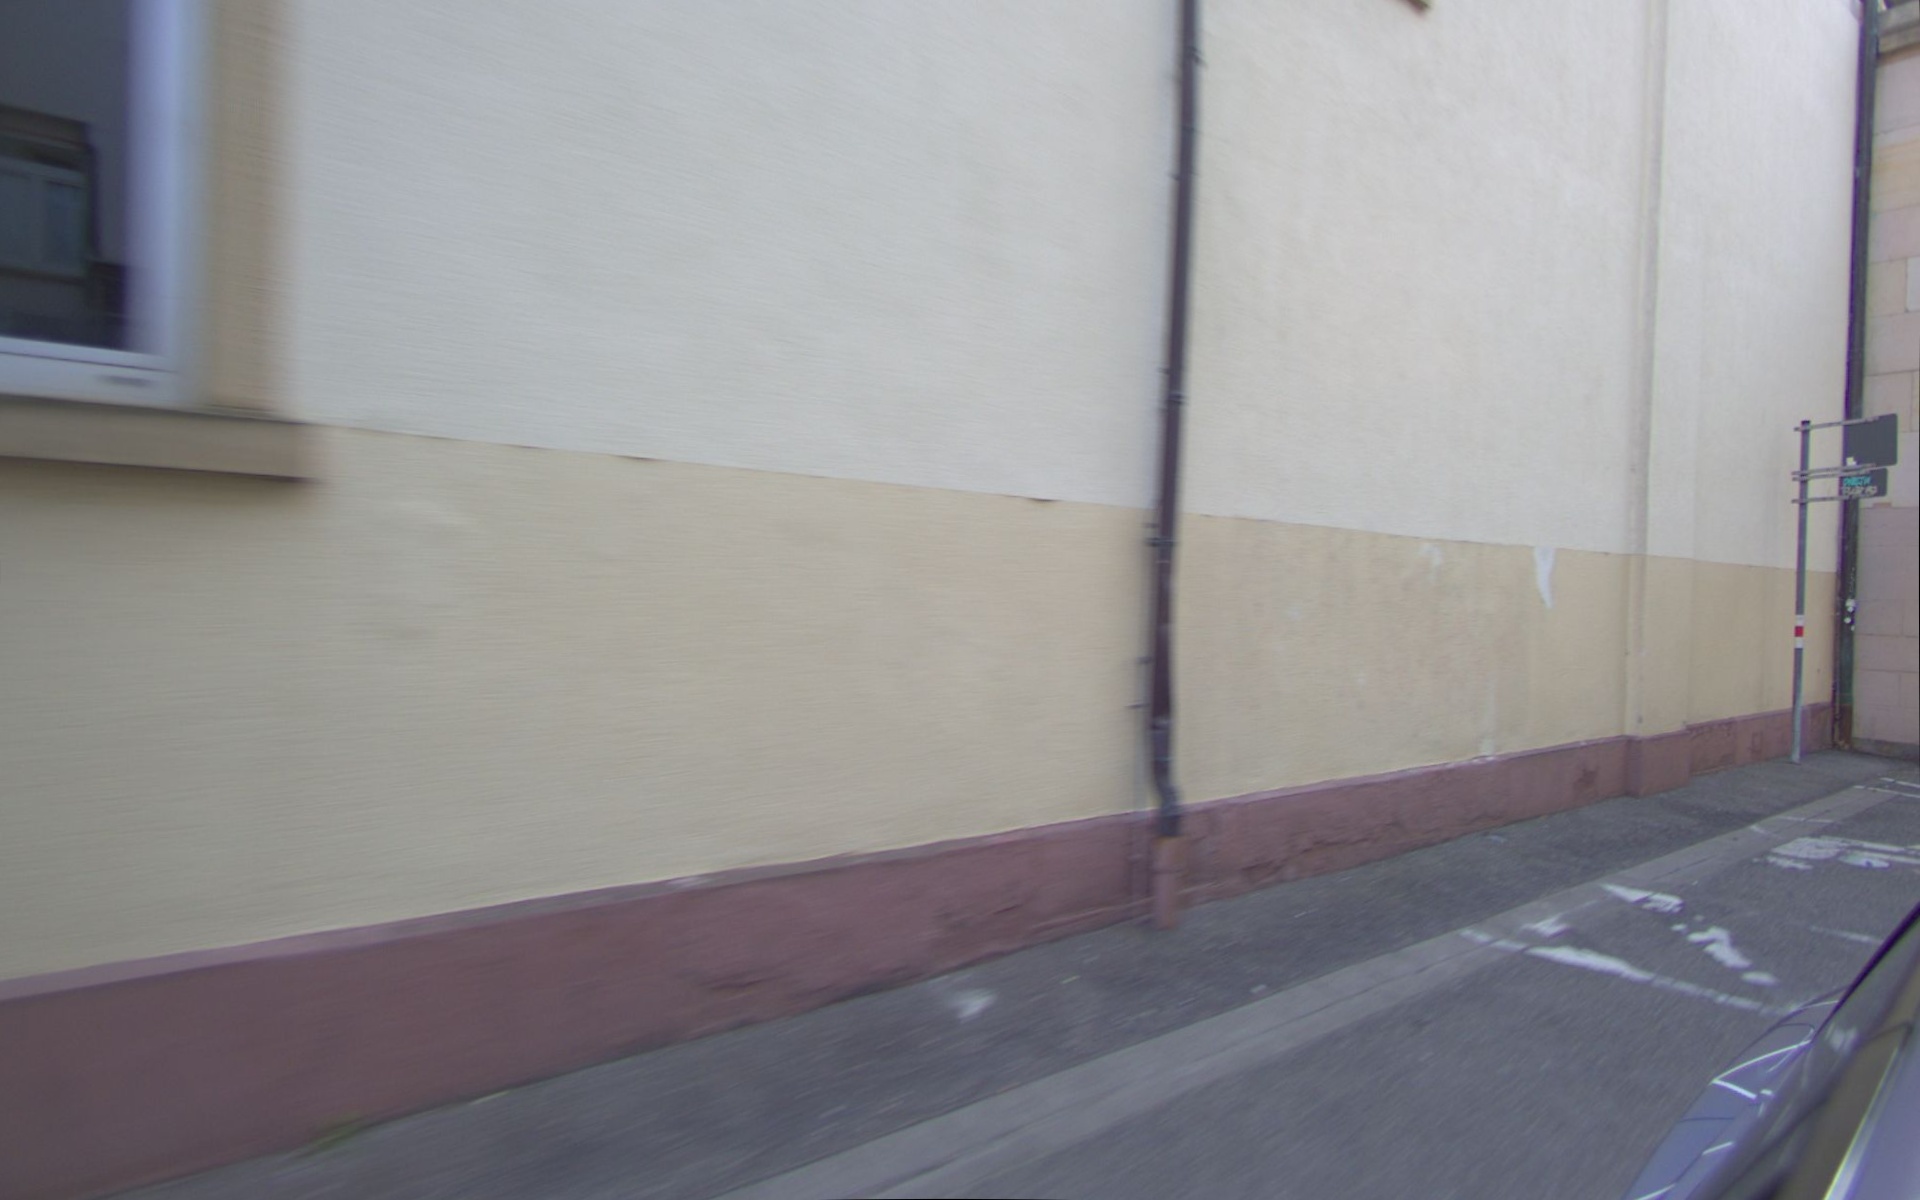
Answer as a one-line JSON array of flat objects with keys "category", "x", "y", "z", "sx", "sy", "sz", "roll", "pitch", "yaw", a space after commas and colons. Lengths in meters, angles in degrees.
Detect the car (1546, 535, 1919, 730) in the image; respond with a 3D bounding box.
[{"category": "car", "x": 12.541, "y": 0.333, "z": 14.896, "sx": 1.966, "sy": 2.542, "sz": 6.468, "roll": -1, "pitch": 4, "yaw": -38}]
